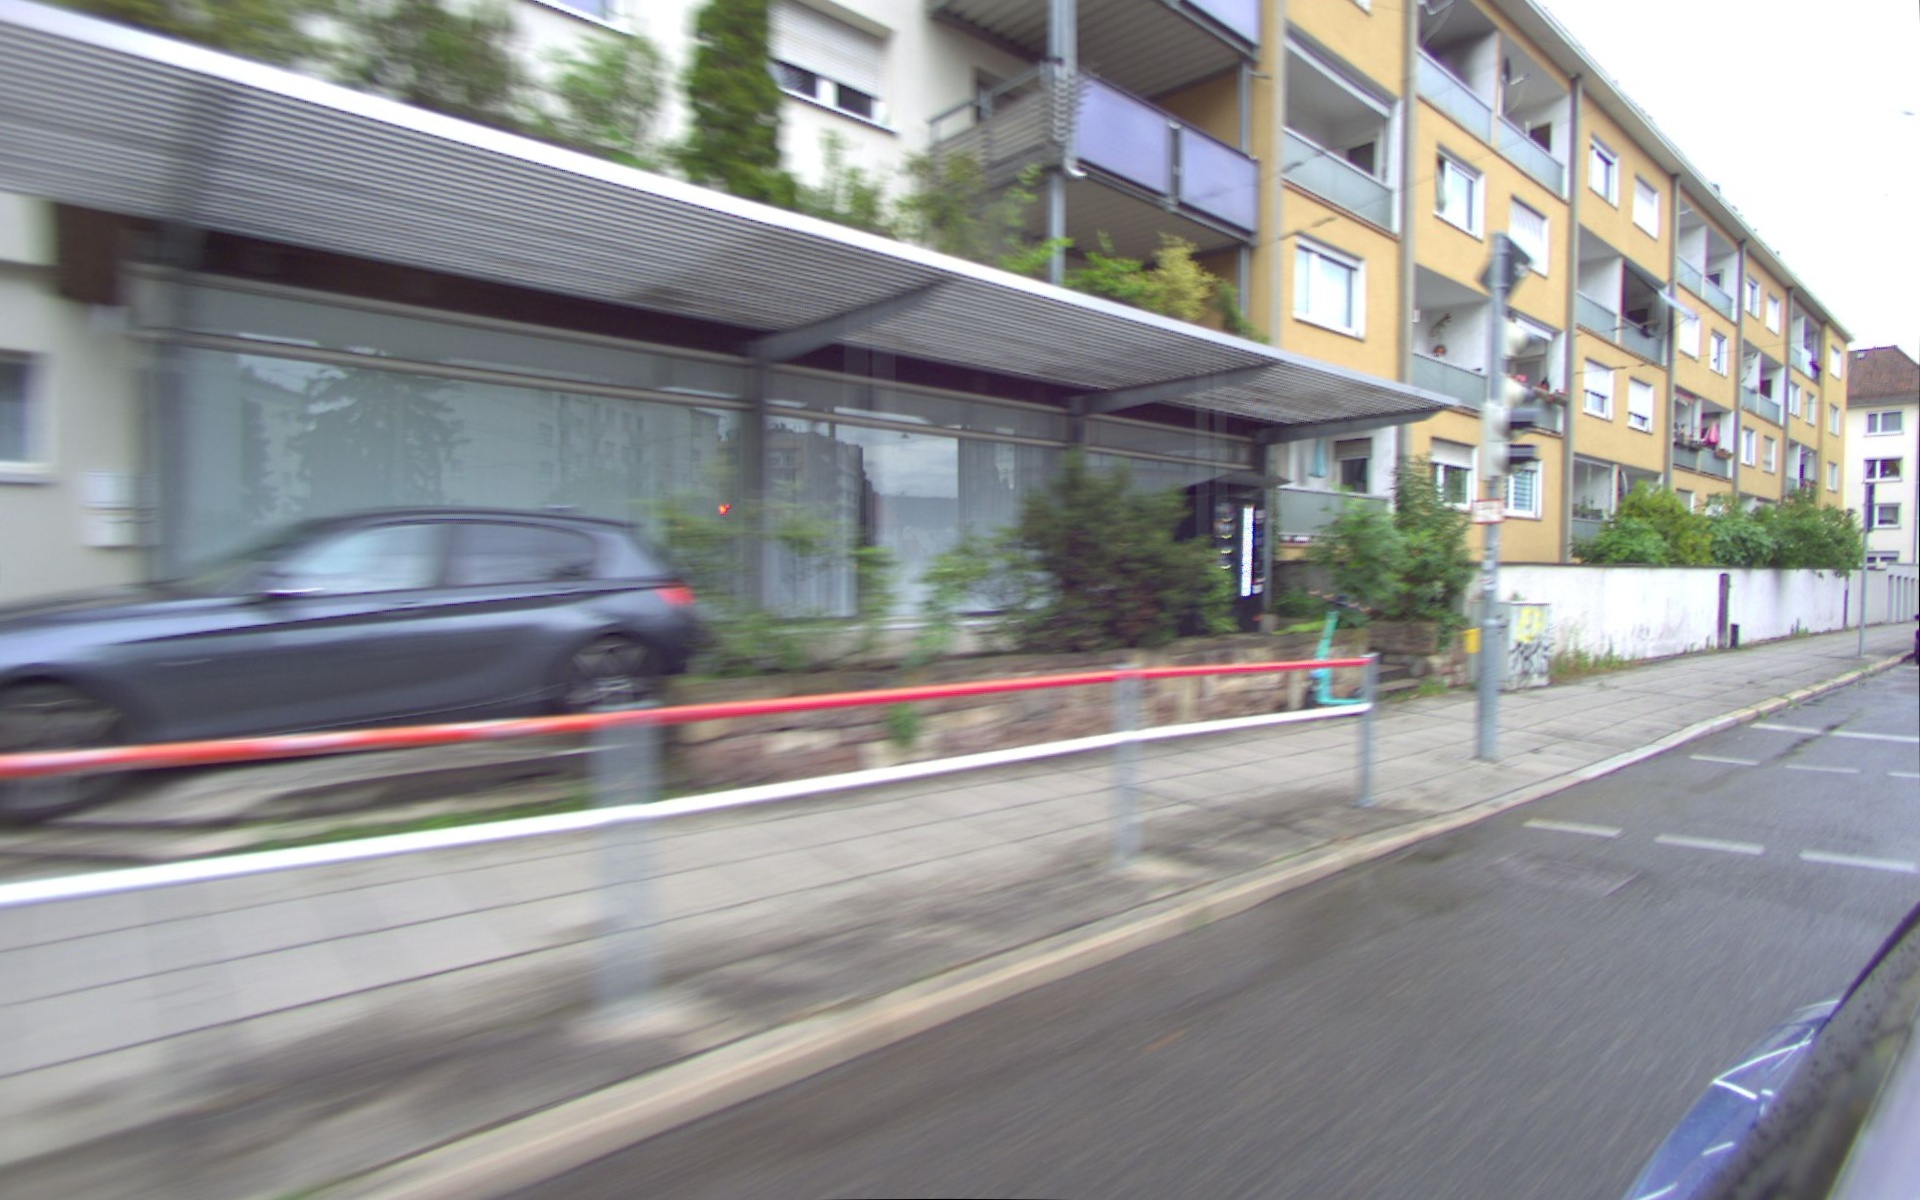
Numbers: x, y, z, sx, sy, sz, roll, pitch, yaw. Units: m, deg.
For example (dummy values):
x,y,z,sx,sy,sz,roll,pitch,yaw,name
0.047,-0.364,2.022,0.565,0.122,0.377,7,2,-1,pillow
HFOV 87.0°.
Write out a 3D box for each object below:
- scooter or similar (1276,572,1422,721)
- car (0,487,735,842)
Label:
x,y,z,sx,sy,sz,roll,pitch,yaw,name
3.918,0.424,10.143,1.630,1.342,0.536,-1,7,-41,scooter or similar
-3.738,0.163,5.924,4.372,1.520,1.858,-3,7,-41,car
